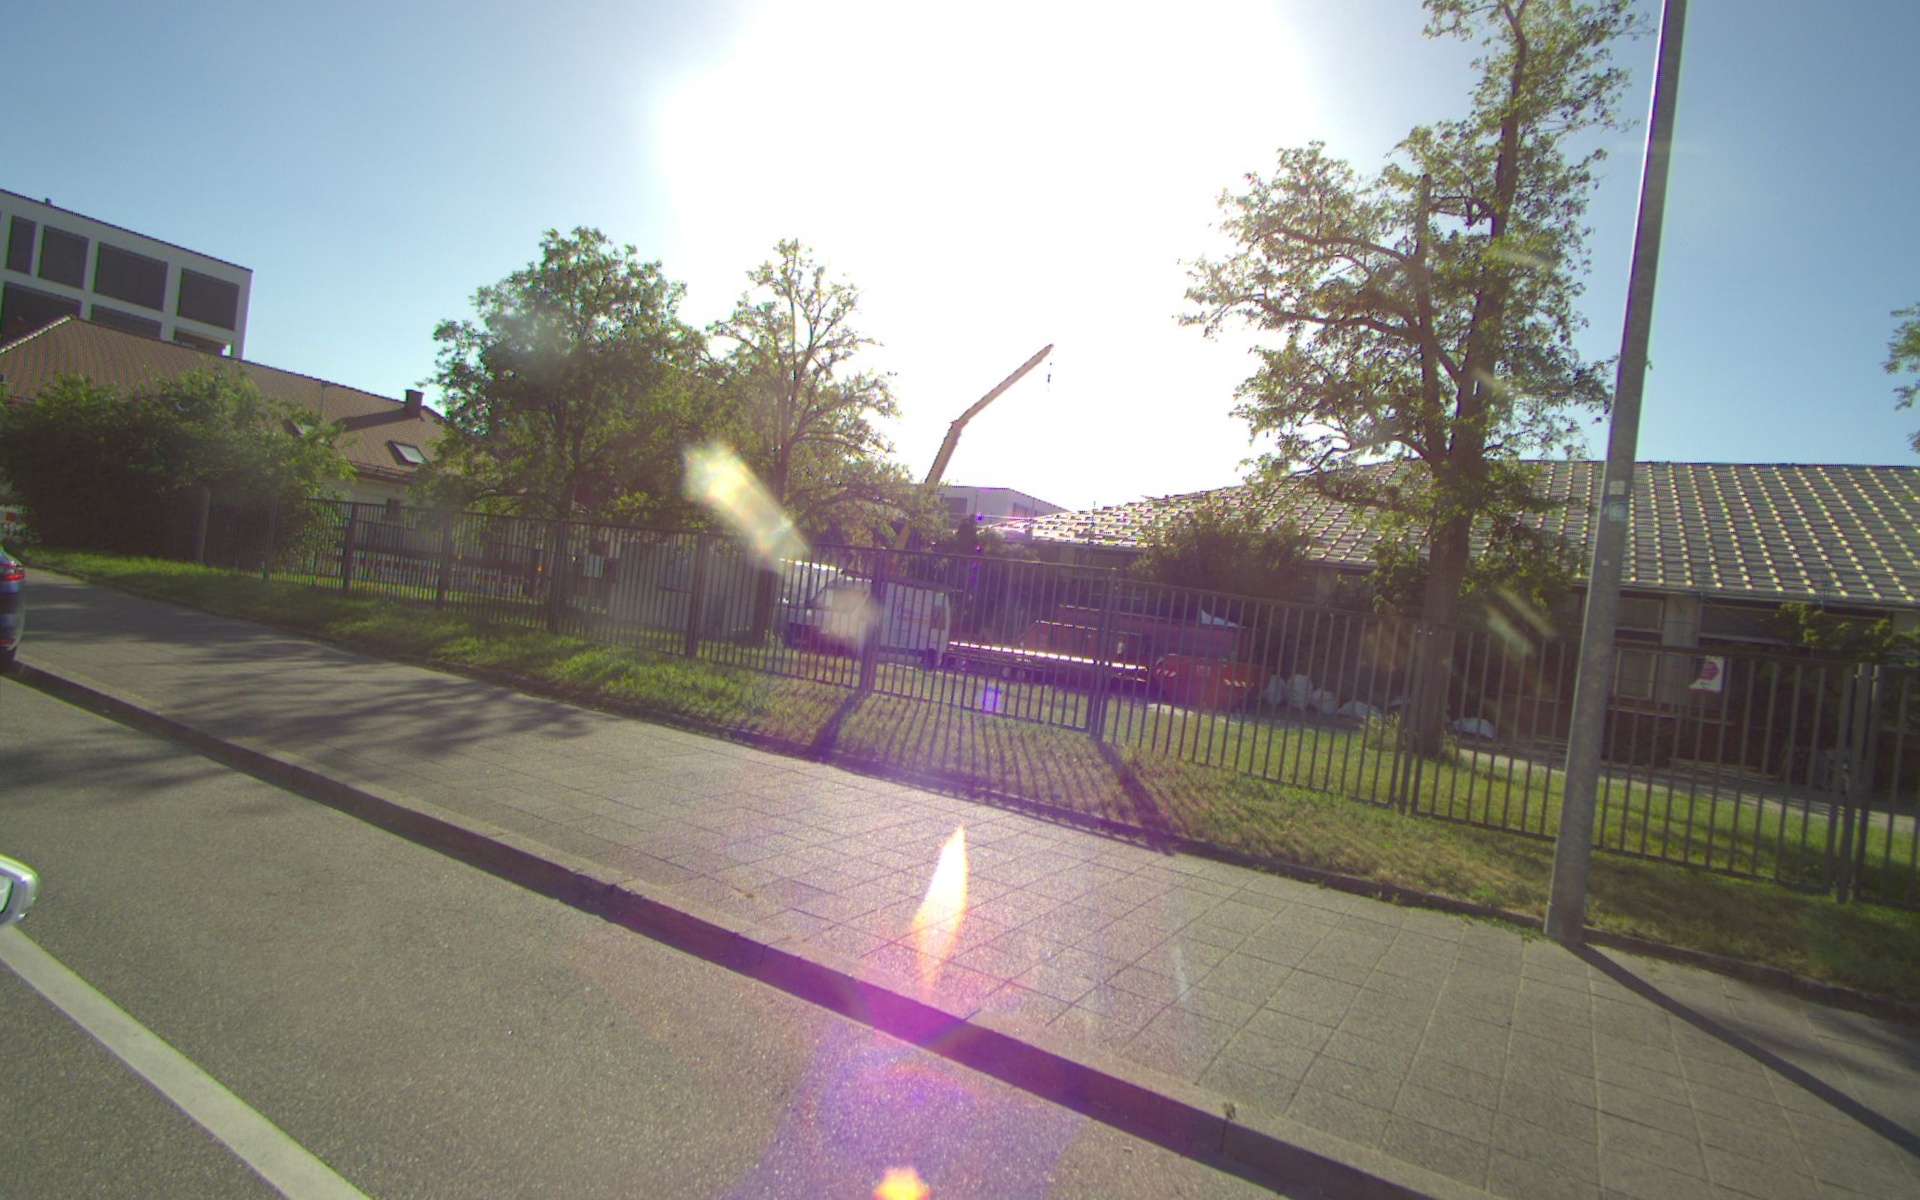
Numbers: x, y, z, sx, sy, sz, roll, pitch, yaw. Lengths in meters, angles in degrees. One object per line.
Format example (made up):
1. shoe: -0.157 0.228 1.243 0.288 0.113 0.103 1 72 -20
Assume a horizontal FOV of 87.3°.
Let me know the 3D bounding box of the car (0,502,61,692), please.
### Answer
1. car: -9.551 -0.294 8.465 4.145 1.469 1.821 7 -2 33

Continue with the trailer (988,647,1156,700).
1. trailer: 3.483 2.312 31.856 5.036 0.930 1.896 6 -1 40

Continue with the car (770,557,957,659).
1. car: -2.580 0.304 28.336 1.970 2.228 5.285 8 0 37
